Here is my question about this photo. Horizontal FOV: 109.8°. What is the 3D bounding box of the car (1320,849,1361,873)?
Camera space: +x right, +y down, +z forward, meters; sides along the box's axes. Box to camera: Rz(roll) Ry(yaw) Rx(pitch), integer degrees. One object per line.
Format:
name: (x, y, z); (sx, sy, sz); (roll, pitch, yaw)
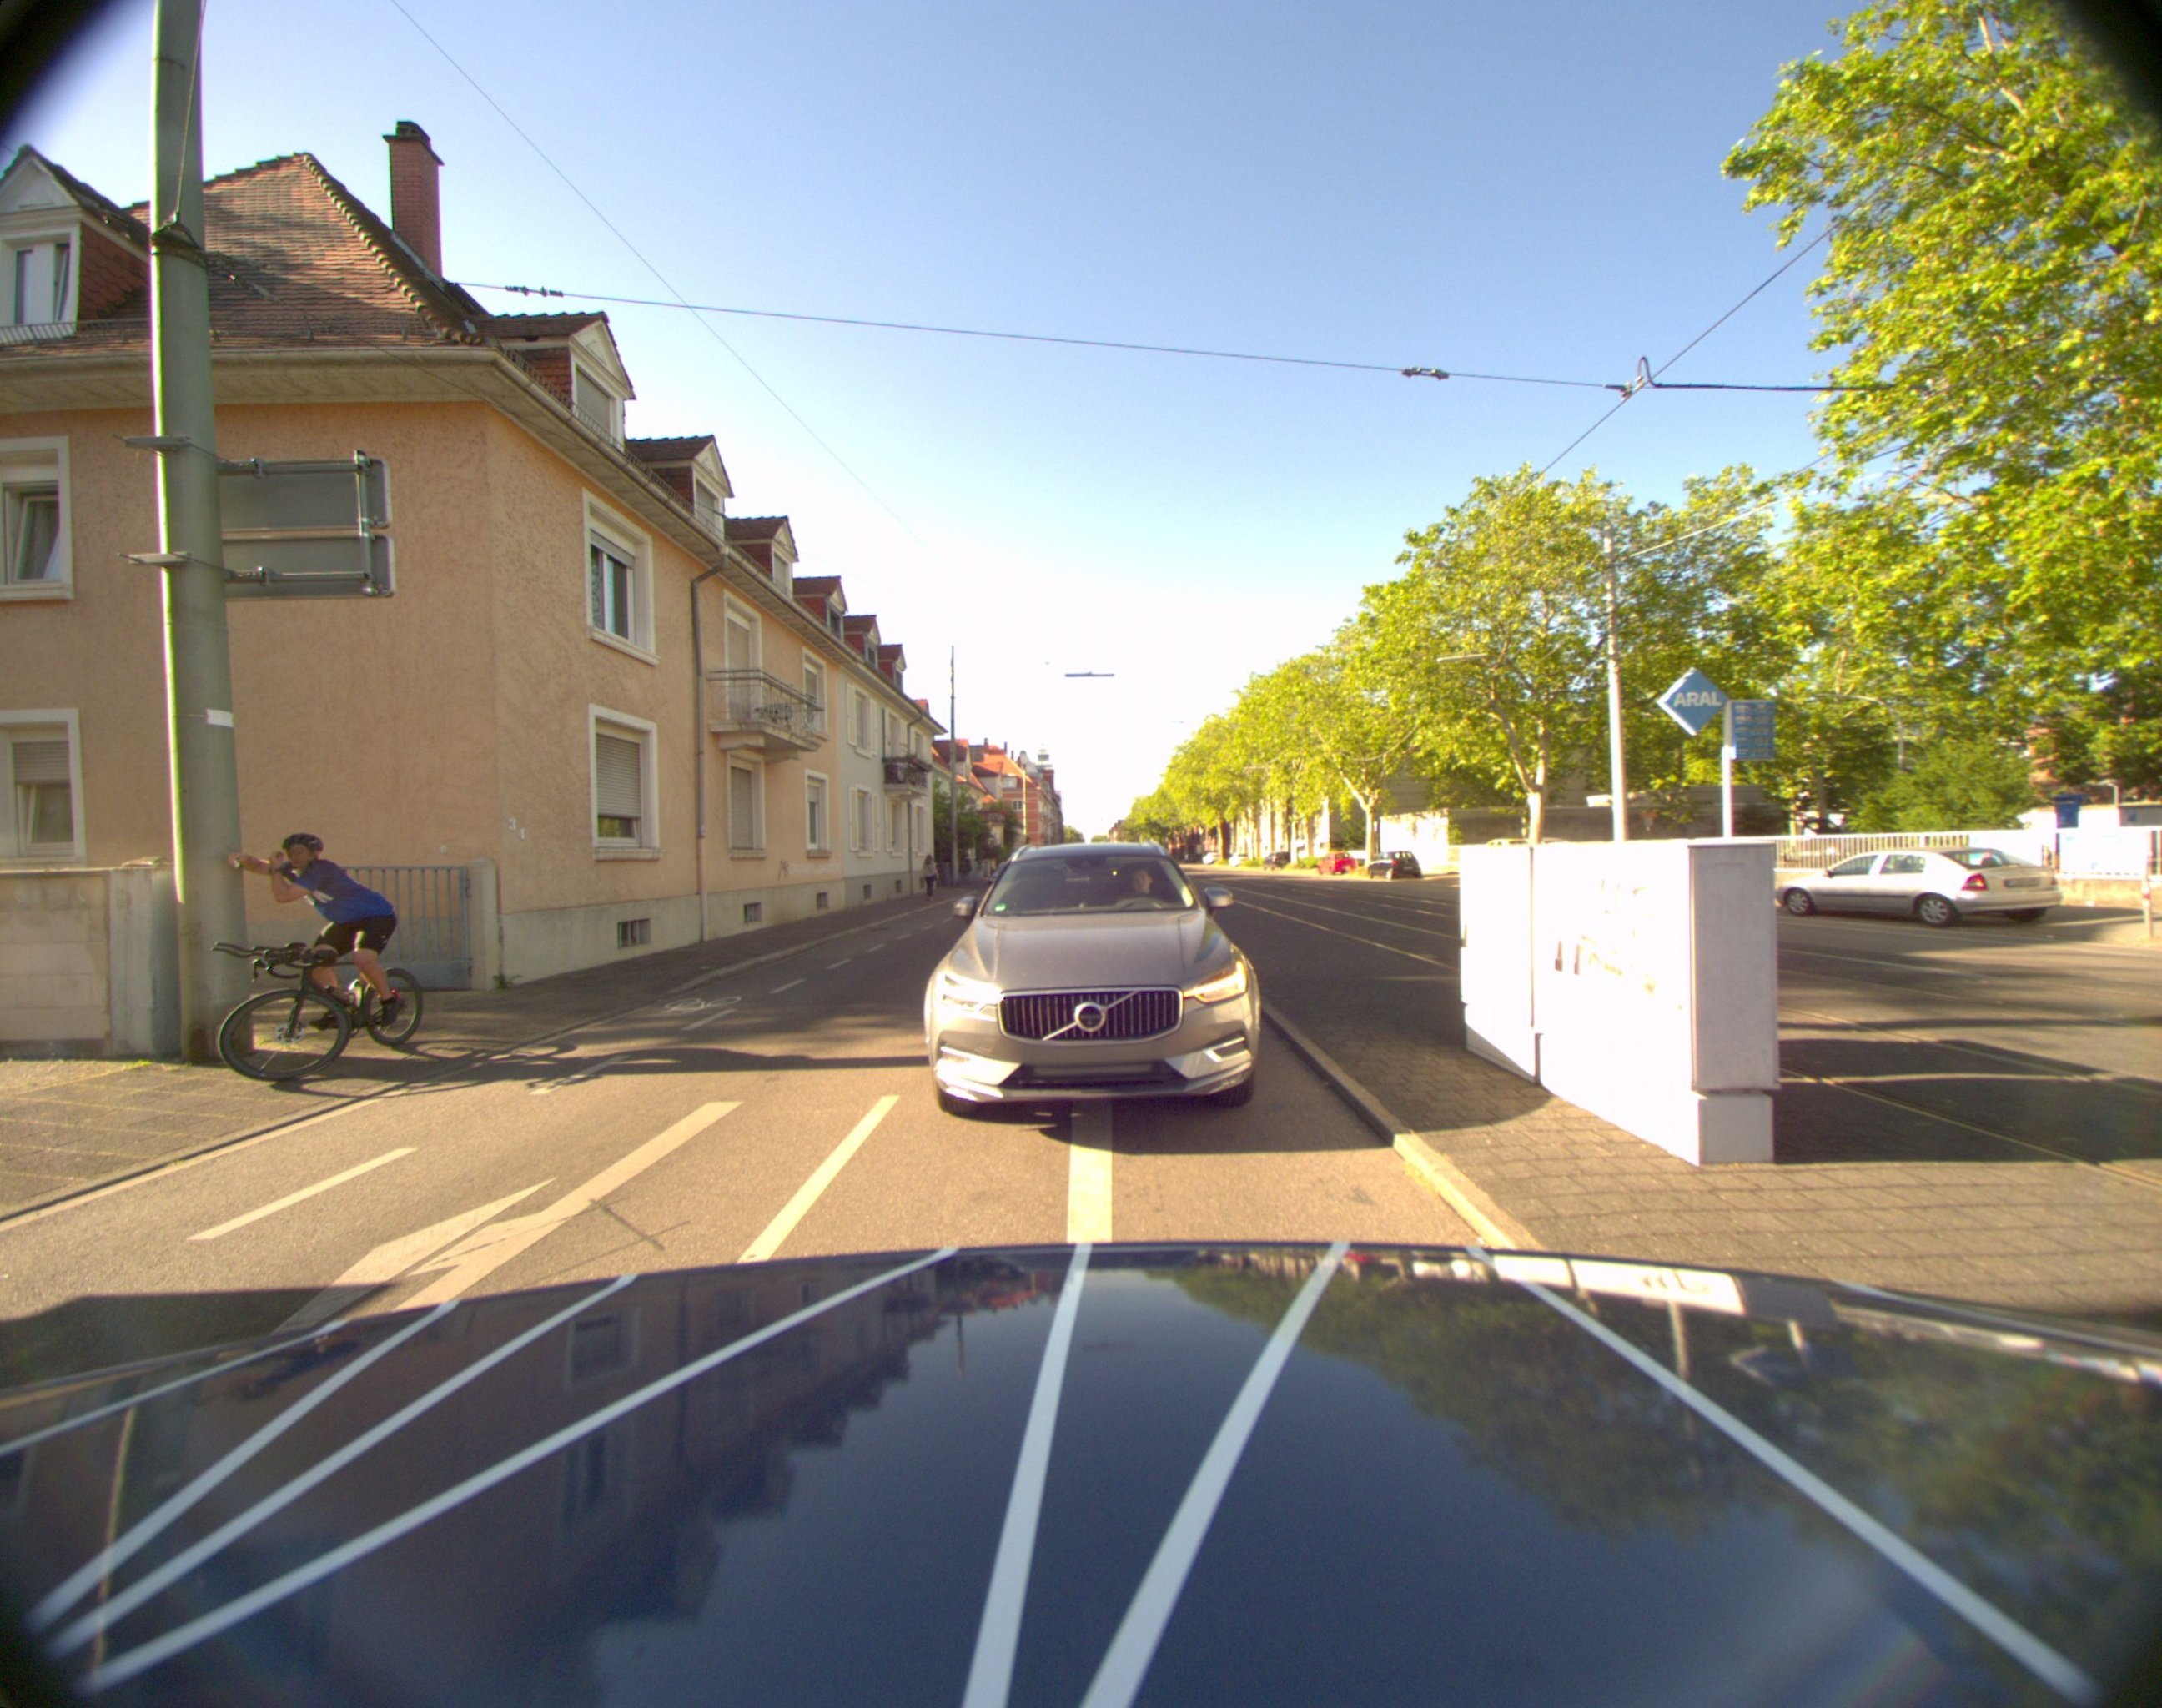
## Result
car: (16.940, 0.447, 49.742); (1.641, 1.499, 3.046); (-1, 0, 1)

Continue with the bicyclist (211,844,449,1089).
bicyclist: (-6.148, 0.868, 6.282); (1.076, 1.854, 0.846); (2, 1, 1)

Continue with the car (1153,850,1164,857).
car: (16.128, -0.146, 158.391); (1.802, 1.504, 4.000); (-1, 0, 1)

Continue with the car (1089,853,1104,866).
car: (2.002, 0.691, 99.070); (1.998, 1.543, 4.000); (-1, 0, 1)

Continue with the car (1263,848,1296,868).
car: (17.191, 0.301, 66.034); (1.802, 1.652, 4.000); (-1, 0, 1)

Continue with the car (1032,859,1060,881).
car: (-2.470, 1.098, 54.431); (1.785, 1.468, 4.000); (-1, 0, 1)

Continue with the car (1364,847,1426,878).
car: (16.880, 0.433, 40.973); (1.826, 1.521, 3.653); (-2, 0, 1)

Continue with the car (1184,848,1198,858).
car: (18.188, -0.196, 125.622); (1.802, 1.504, 4.000); (-1, 0, 1)

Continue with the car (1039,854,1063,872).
car: (-2.566, 0.782, 66.821); (1.875, 1.477, 4.000); (-1, 0, 1)

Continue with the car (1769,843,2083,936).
car: (16.244, 0.605, 14.984); (1.795, 1.455, 3.966); (-4, 0, 2)

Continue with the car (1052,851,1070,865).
car: (-2.209, 0.468, 85.483); (1.875, 1.477, 4.000); (-1, 0, 1)

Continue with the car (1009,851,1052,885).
car: (-2.791, 0.727, 42.877); (1.751, 1.767, 5.351); (-1, 0, 3)

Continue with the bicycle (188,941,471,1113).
bicycle: (-5.943, 1.308, 6.167); (0.572, 0.986, 1.698); (2, 0, 1)

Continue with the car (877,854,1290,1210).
car: (0.041, 0.857, 5.793); (1.940, 1.650, 4.321); (-1, 0, 1)

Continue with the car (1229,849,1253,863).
car: (17.541, 0.239, 83.420); (1.802, 1.489, 4.000); (-1, 0, 1)

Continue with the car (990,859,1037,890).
car: (-3.213, 0.975, 37.017); (1.647, 1.357, 3.868); (-1, 0, 4)

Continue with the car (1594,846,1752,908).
car: (16.429, 0.584, 21.332); (1.692, 1.455, 3.519); (-4, 0, 2)

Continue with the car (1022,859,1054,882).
car: (-2.687, 1.004, 48.295); (1.785, 1.346, 4.000); (-1, 0, 1)

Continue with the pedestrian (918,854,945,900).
pedestrian: (-5.491, 0.829, 27.914); (0.694, 1.652, 1.098); (-2, 1, 0)

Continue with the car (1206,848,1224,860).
car: (17.727, 0.009, 100.664); (1.802, 1.504, 4.000); (-1, 0, 1)

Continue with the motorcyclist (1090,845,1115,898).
motorcyclist: (0.759, 0.596, 27.128); (0.827, 1.832, 1.159); (-2, 1, 1)

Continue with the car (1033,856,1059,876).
car: (-2.755, 0.959, 60.667); (1.785, 1.468, 4.000); (-1, 0, 1)
